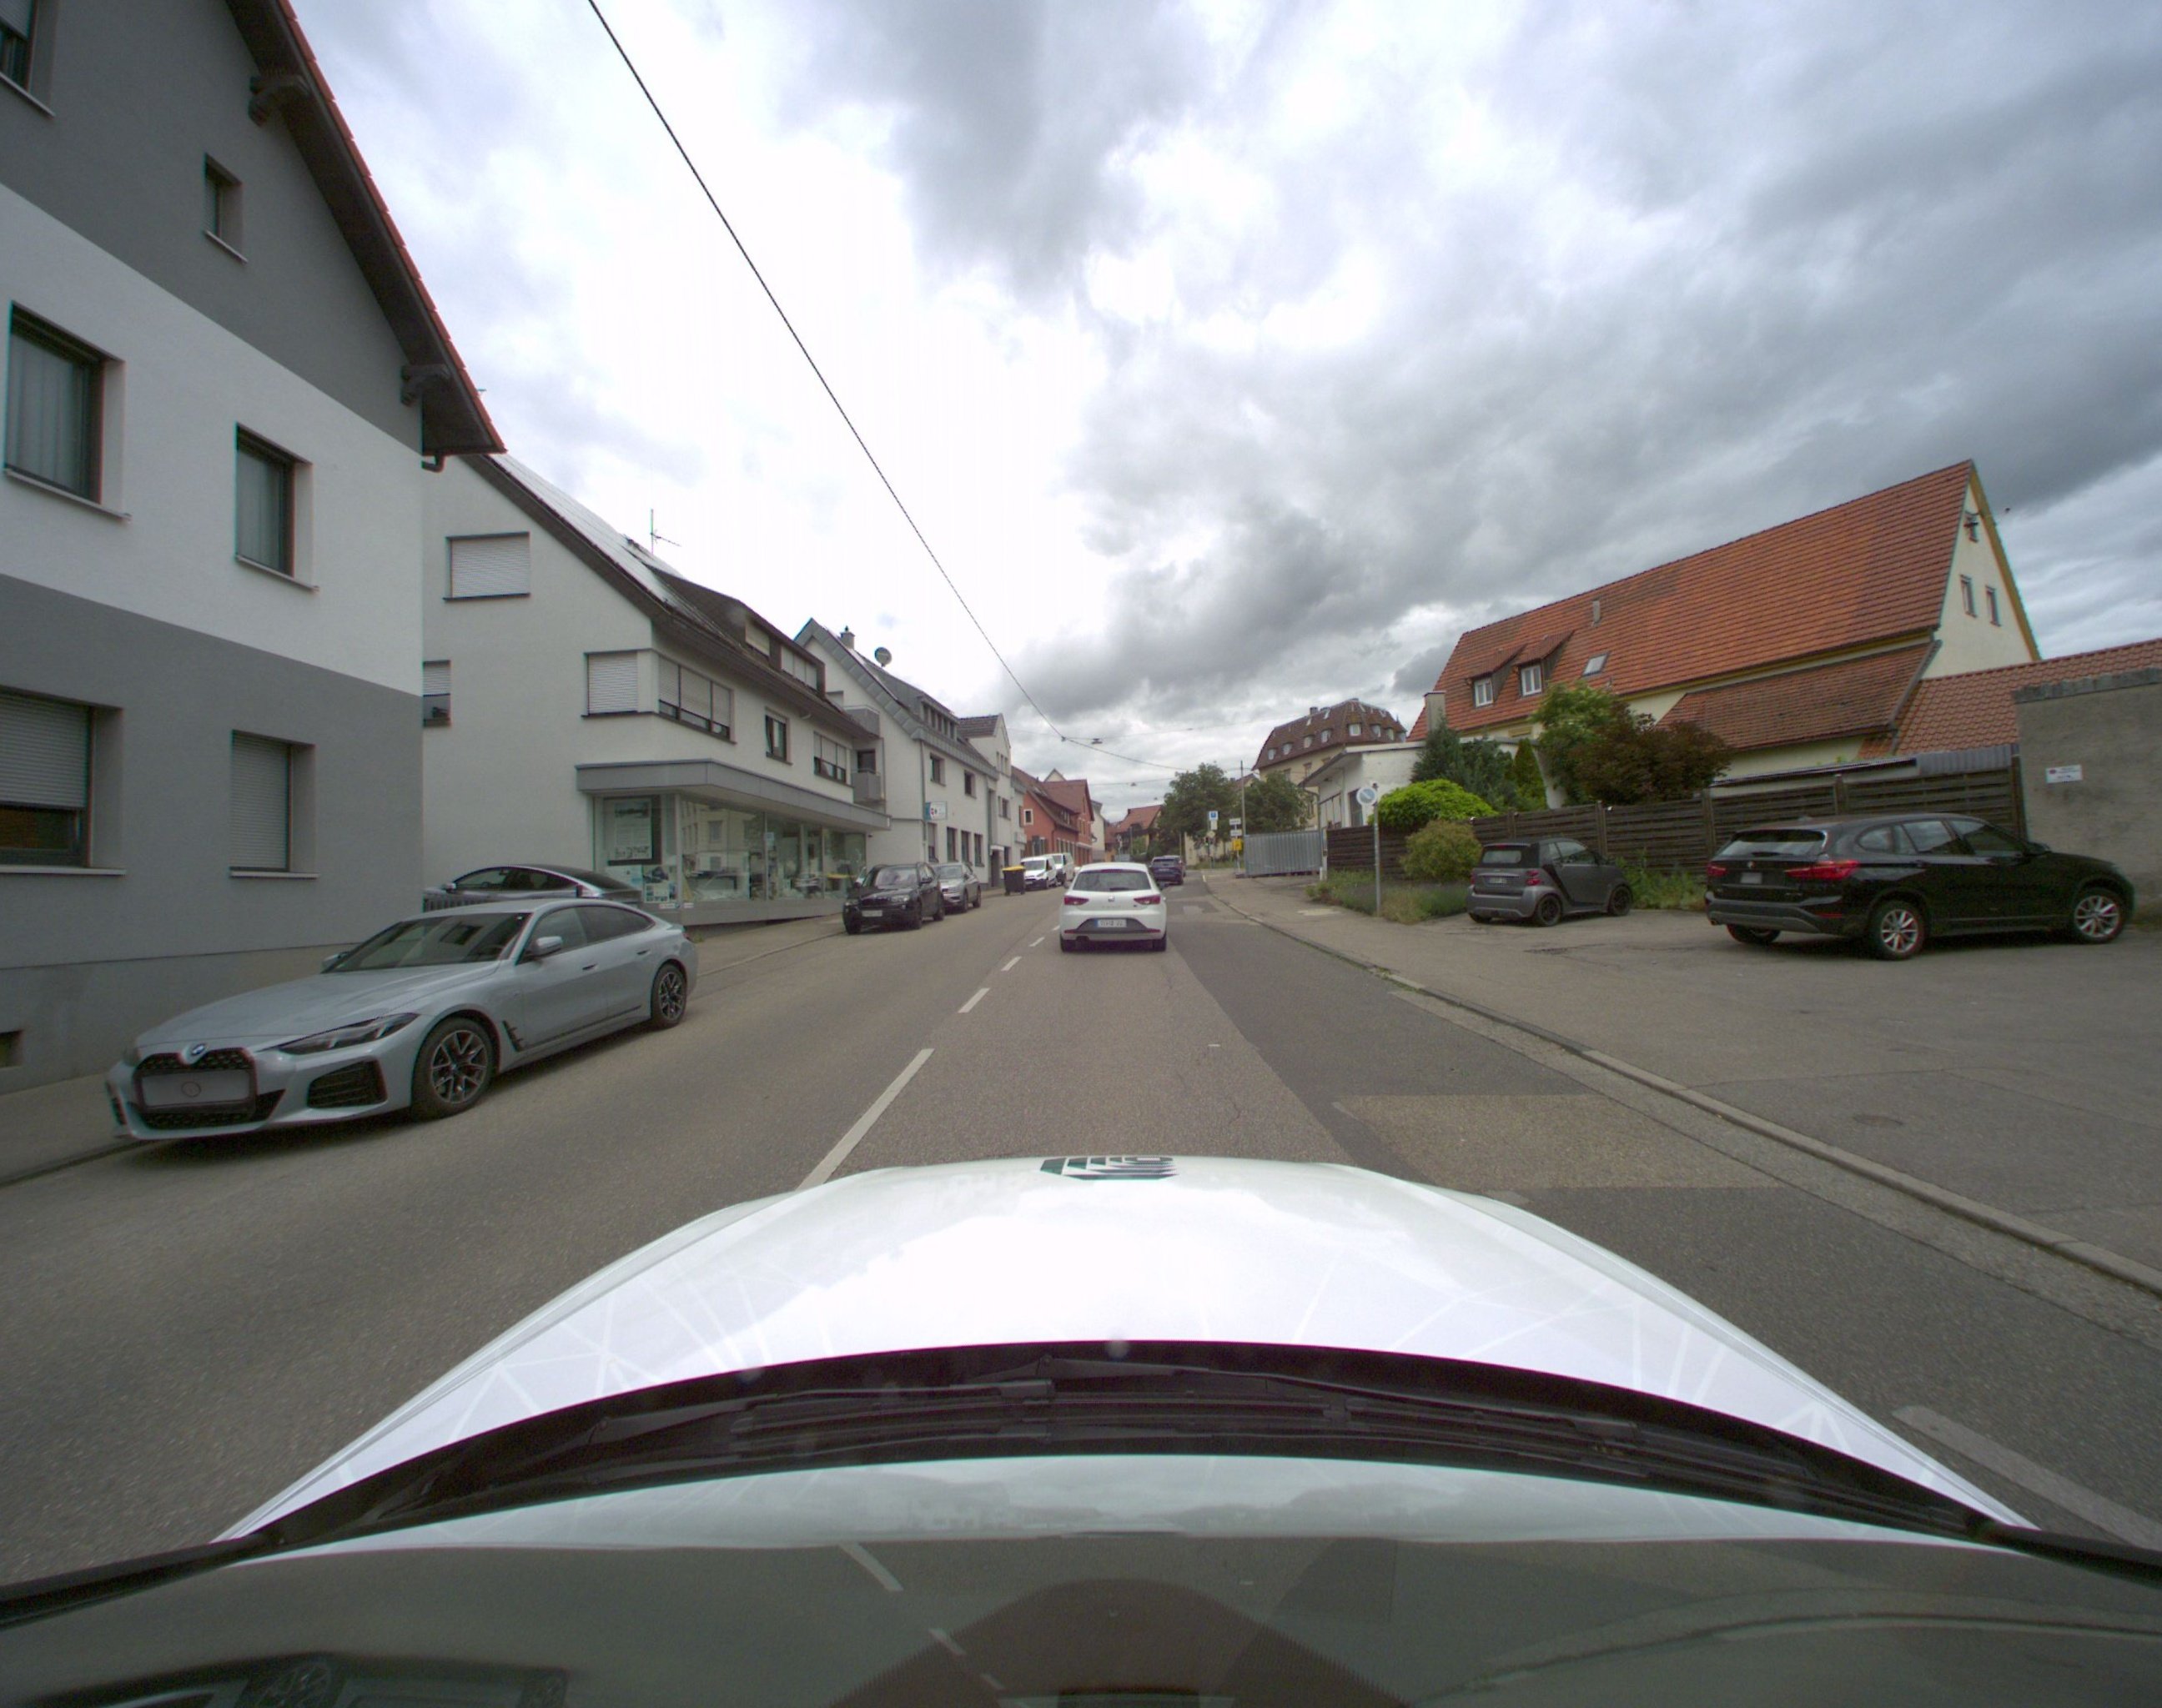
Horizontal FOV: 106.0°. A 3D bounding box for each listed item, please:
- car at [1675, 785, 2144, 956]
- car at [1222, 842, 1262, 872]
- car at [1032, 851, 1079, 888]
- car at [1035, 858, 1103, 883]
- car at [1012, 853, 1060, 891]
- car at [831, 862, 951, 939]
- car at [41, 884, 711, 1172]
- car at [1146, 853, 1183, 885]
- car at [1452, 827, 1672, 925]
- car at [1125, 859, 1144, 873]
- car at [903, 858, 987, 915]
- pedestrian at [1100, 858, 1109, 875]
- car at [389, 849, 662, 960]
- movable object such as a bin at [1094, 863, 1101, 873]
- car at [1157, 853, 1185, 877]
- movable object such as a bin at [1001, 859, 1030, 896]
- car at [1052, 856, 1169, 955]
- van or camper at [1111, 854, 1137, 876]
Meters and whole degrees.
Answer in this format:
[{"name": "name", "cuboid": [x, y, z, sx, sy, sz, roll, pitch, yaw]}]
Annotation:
[{"name": "car", "cuboid": [9.928, 0.158, 9.944, 4.109, 1.654, 1.899, -3, 0, -8]}, {"name": "car", "cuboid": [10.542, 0.192, 53.602, 1.740, 1.739, 4.573, -4, 0, 1]}, {"name": "car", "cuboid": [-1.496, 0.914, 49.826, 1.801, 2.005, 4.776, -5, -1, 10]}, {"name": "car", "cuboid": [-0.846, 1.196, 59.481, 4.524, 1.445, 2.006, -4, -1, 11]}, {"name": "car", "cuboid": [-2.406, 0.951, 44.381, 1.724, 1.832, 4.307, -5, -1, 7]}, {"name": "car", "cuboid": [-4.739, 1.092, 20.982, 1.831, 1.633, 4.410, -4, 0, 1]}, {"name": "car", "cuboid": [-5.226, 1.117, 7.100, 1.831, 1.445, 4.467, -4, 0, 0]}, {"name": "car", "cuboid": [4.252, 0.786, 41.404, 1.749, 1.452, 4.006, -2, -2, 6]}, {"name": "car", "cuboid": [8.836, 0.367, 15.022, 3.322, 1.519, 1.693, -3, 0, -19]}, {"name": "car", "cuboid": [6.767, 1.524, 103.373, 1.991, 1.633, 4.856, -2, -2, 0]}, {"name": "car", "cuboid": [-4.377, 0.995, 26.880, 1.831, 1.633, 4.410, -4, 0, 1]}, {"name": "pedestrian", "cuboid": [2.557, 1.365, 88.974, 0.796, 1.785, 0.894, -2, -1, 7]}, {"name": "car", "cuboid": [-10.891, 0.947, 16.183, 3.971, 1.856, 2.001, -3, -1, 3]}, {"name": "movable object such as a bin", "cuboid": [1.897, 1.611, 92.834, 0.662, 1.018, 0.796, -3, -1, 4]}, {"name": "car", "cuboid": [6.036, 0.774, 54.807, 1.749, 1.452, 4.006, -2, -2, 6]}, {"name": "movable object such as a bin", "cuboid": [-3.076, 1.082, 38.430, 1.136, 1.633, 1.563, -4, 0, 1]}, {"name": "car", "cuboid": [0.643, 0.824, 14.560, 1.750, 1.452, 4.006, -2, -1, 5]}, {"name": "van or camper", "cuboid": [4.462, 1.180, 83.617, 2.062, 2.006, 4.867, -5, -3, 7]}]
